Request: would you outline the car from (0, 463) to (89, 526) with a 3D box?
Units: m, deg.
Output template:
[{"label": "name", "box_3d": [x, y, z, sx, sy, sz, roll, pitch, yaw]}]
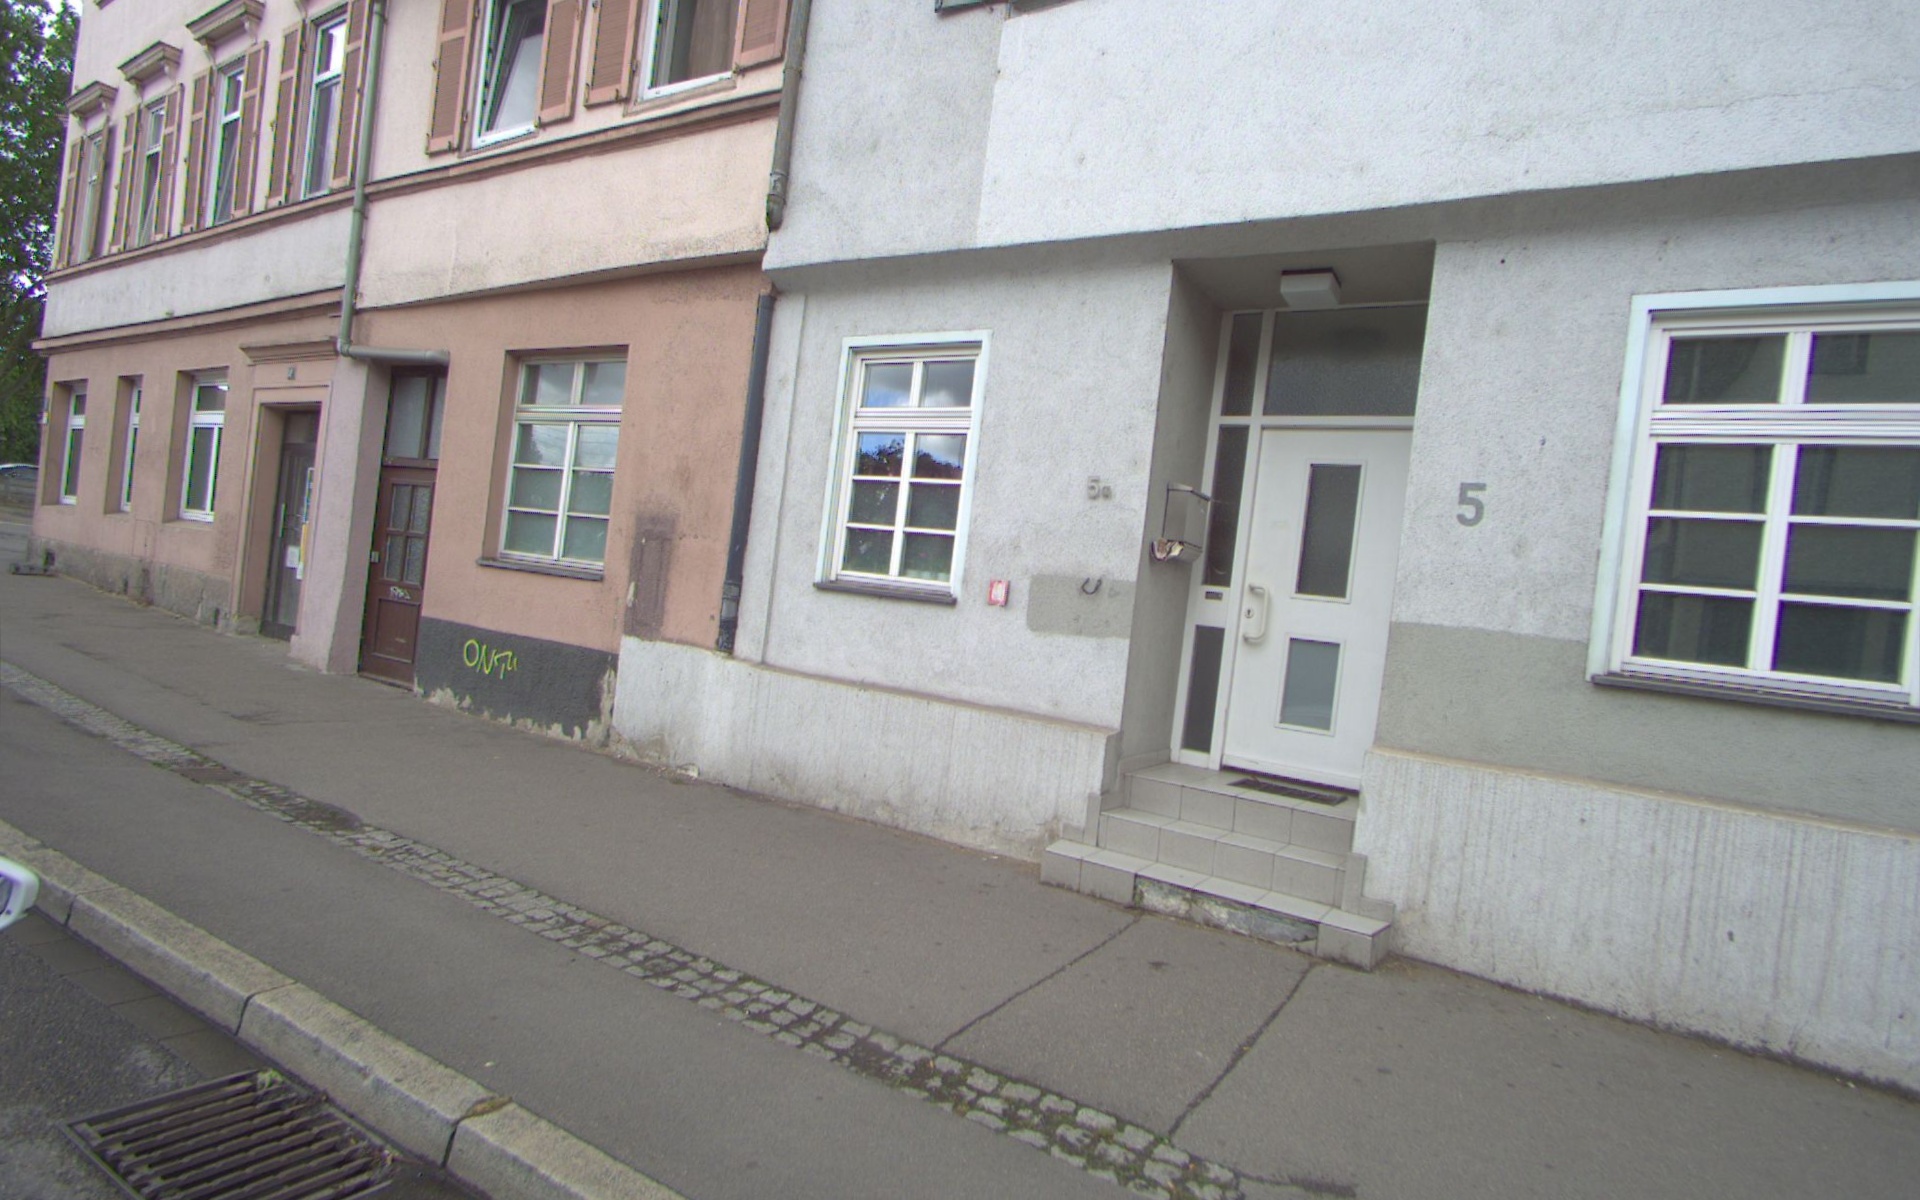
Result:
[{"label": "car", "box_3d": [-32.991, -3.777, 34.603, 1.963, 1.761, 4.001, 6, -2, 22]}]
